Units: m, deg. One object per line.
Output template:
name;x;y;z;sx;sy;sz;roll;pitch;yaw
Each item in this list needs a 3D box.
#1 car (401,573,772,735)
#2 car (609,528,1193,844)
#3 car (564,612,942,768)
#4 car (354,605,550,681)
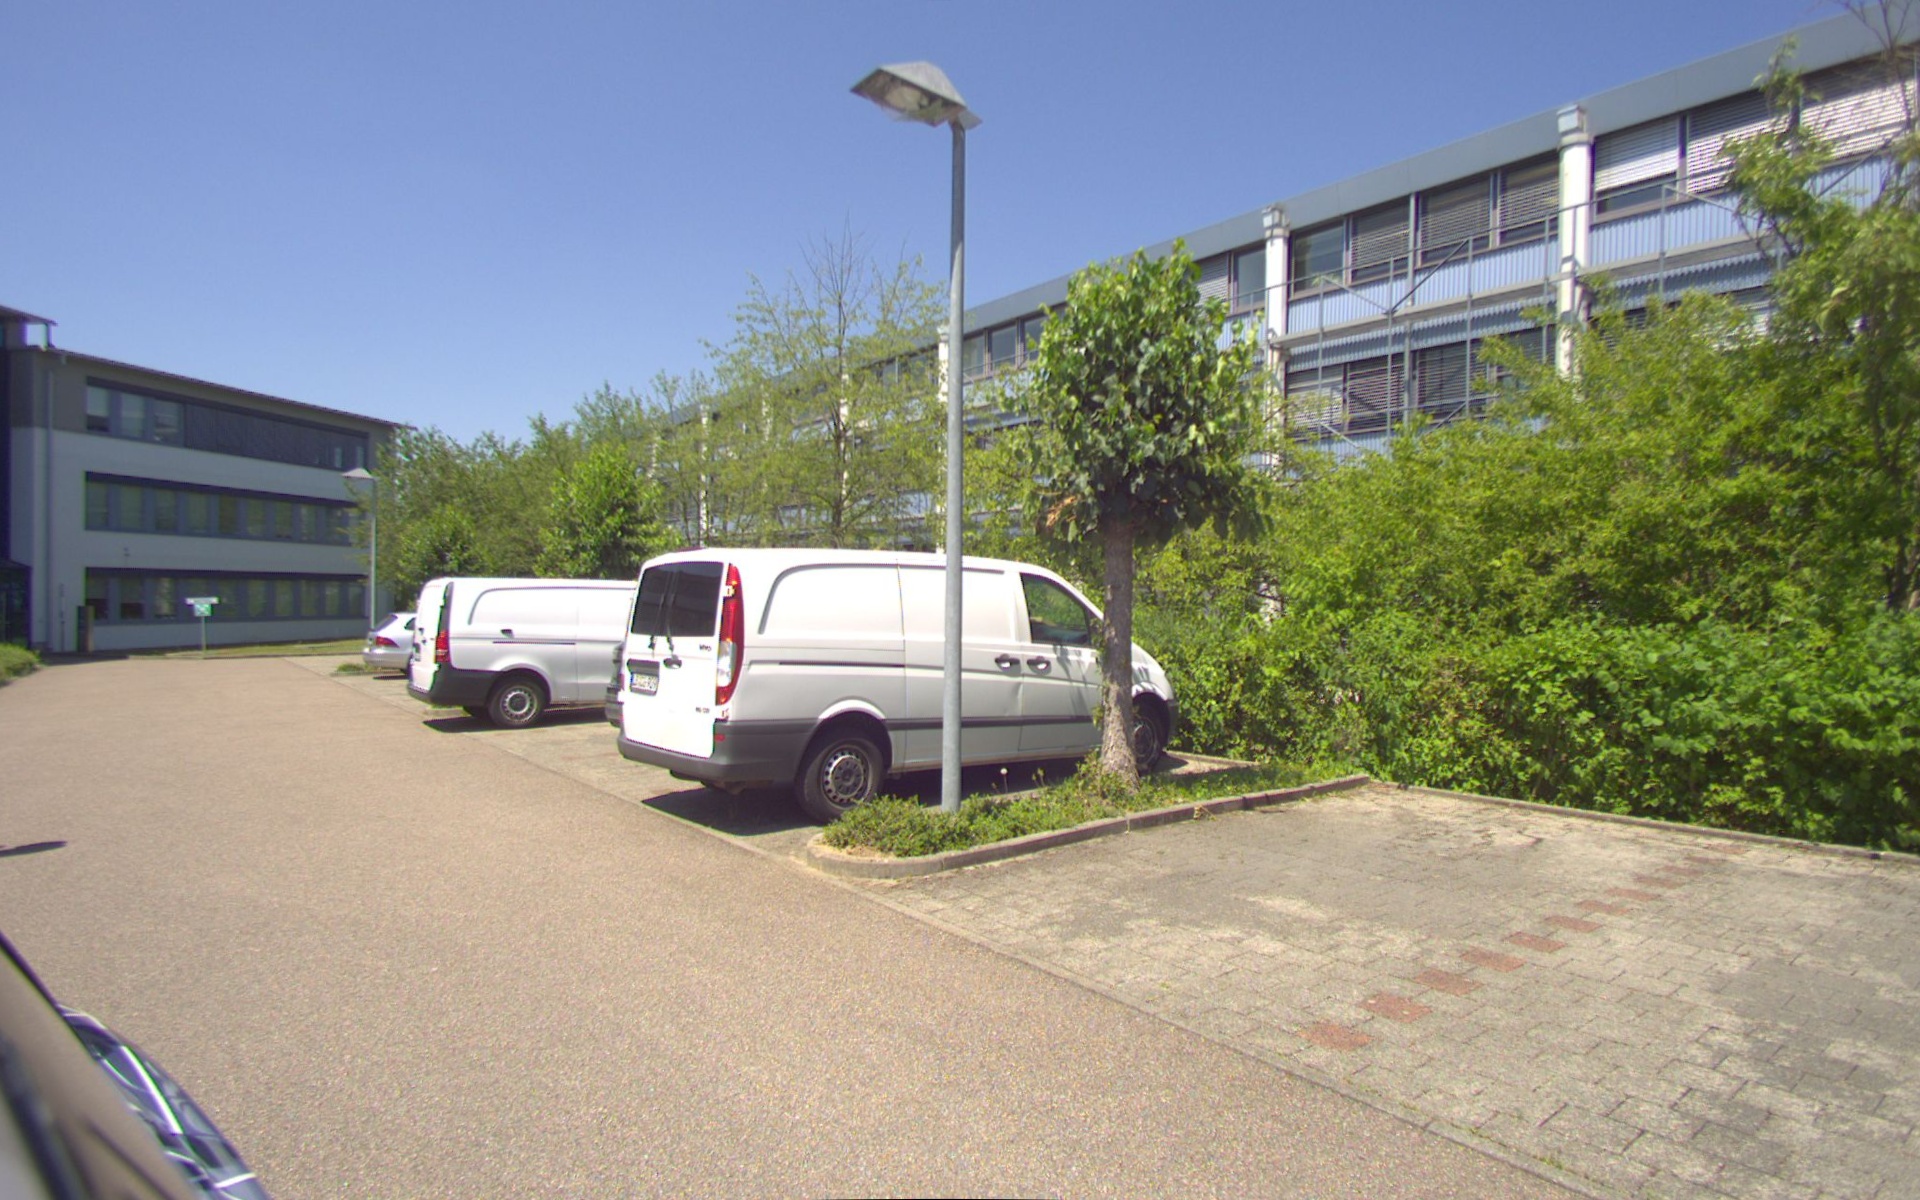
car;-5.014;0.642;13.931;4.449;1.896;1.832;0;-1;-40
car;-0.262;0.536;8.378;4.661;1.920;1.832;0;-1;-40
car;-2.159;0.847;11.113;3.791;1.404;1.579;0;-1;-40
car;-11.474;0.920;22.956;3.706;1.569;1.663;0;-1;-40
